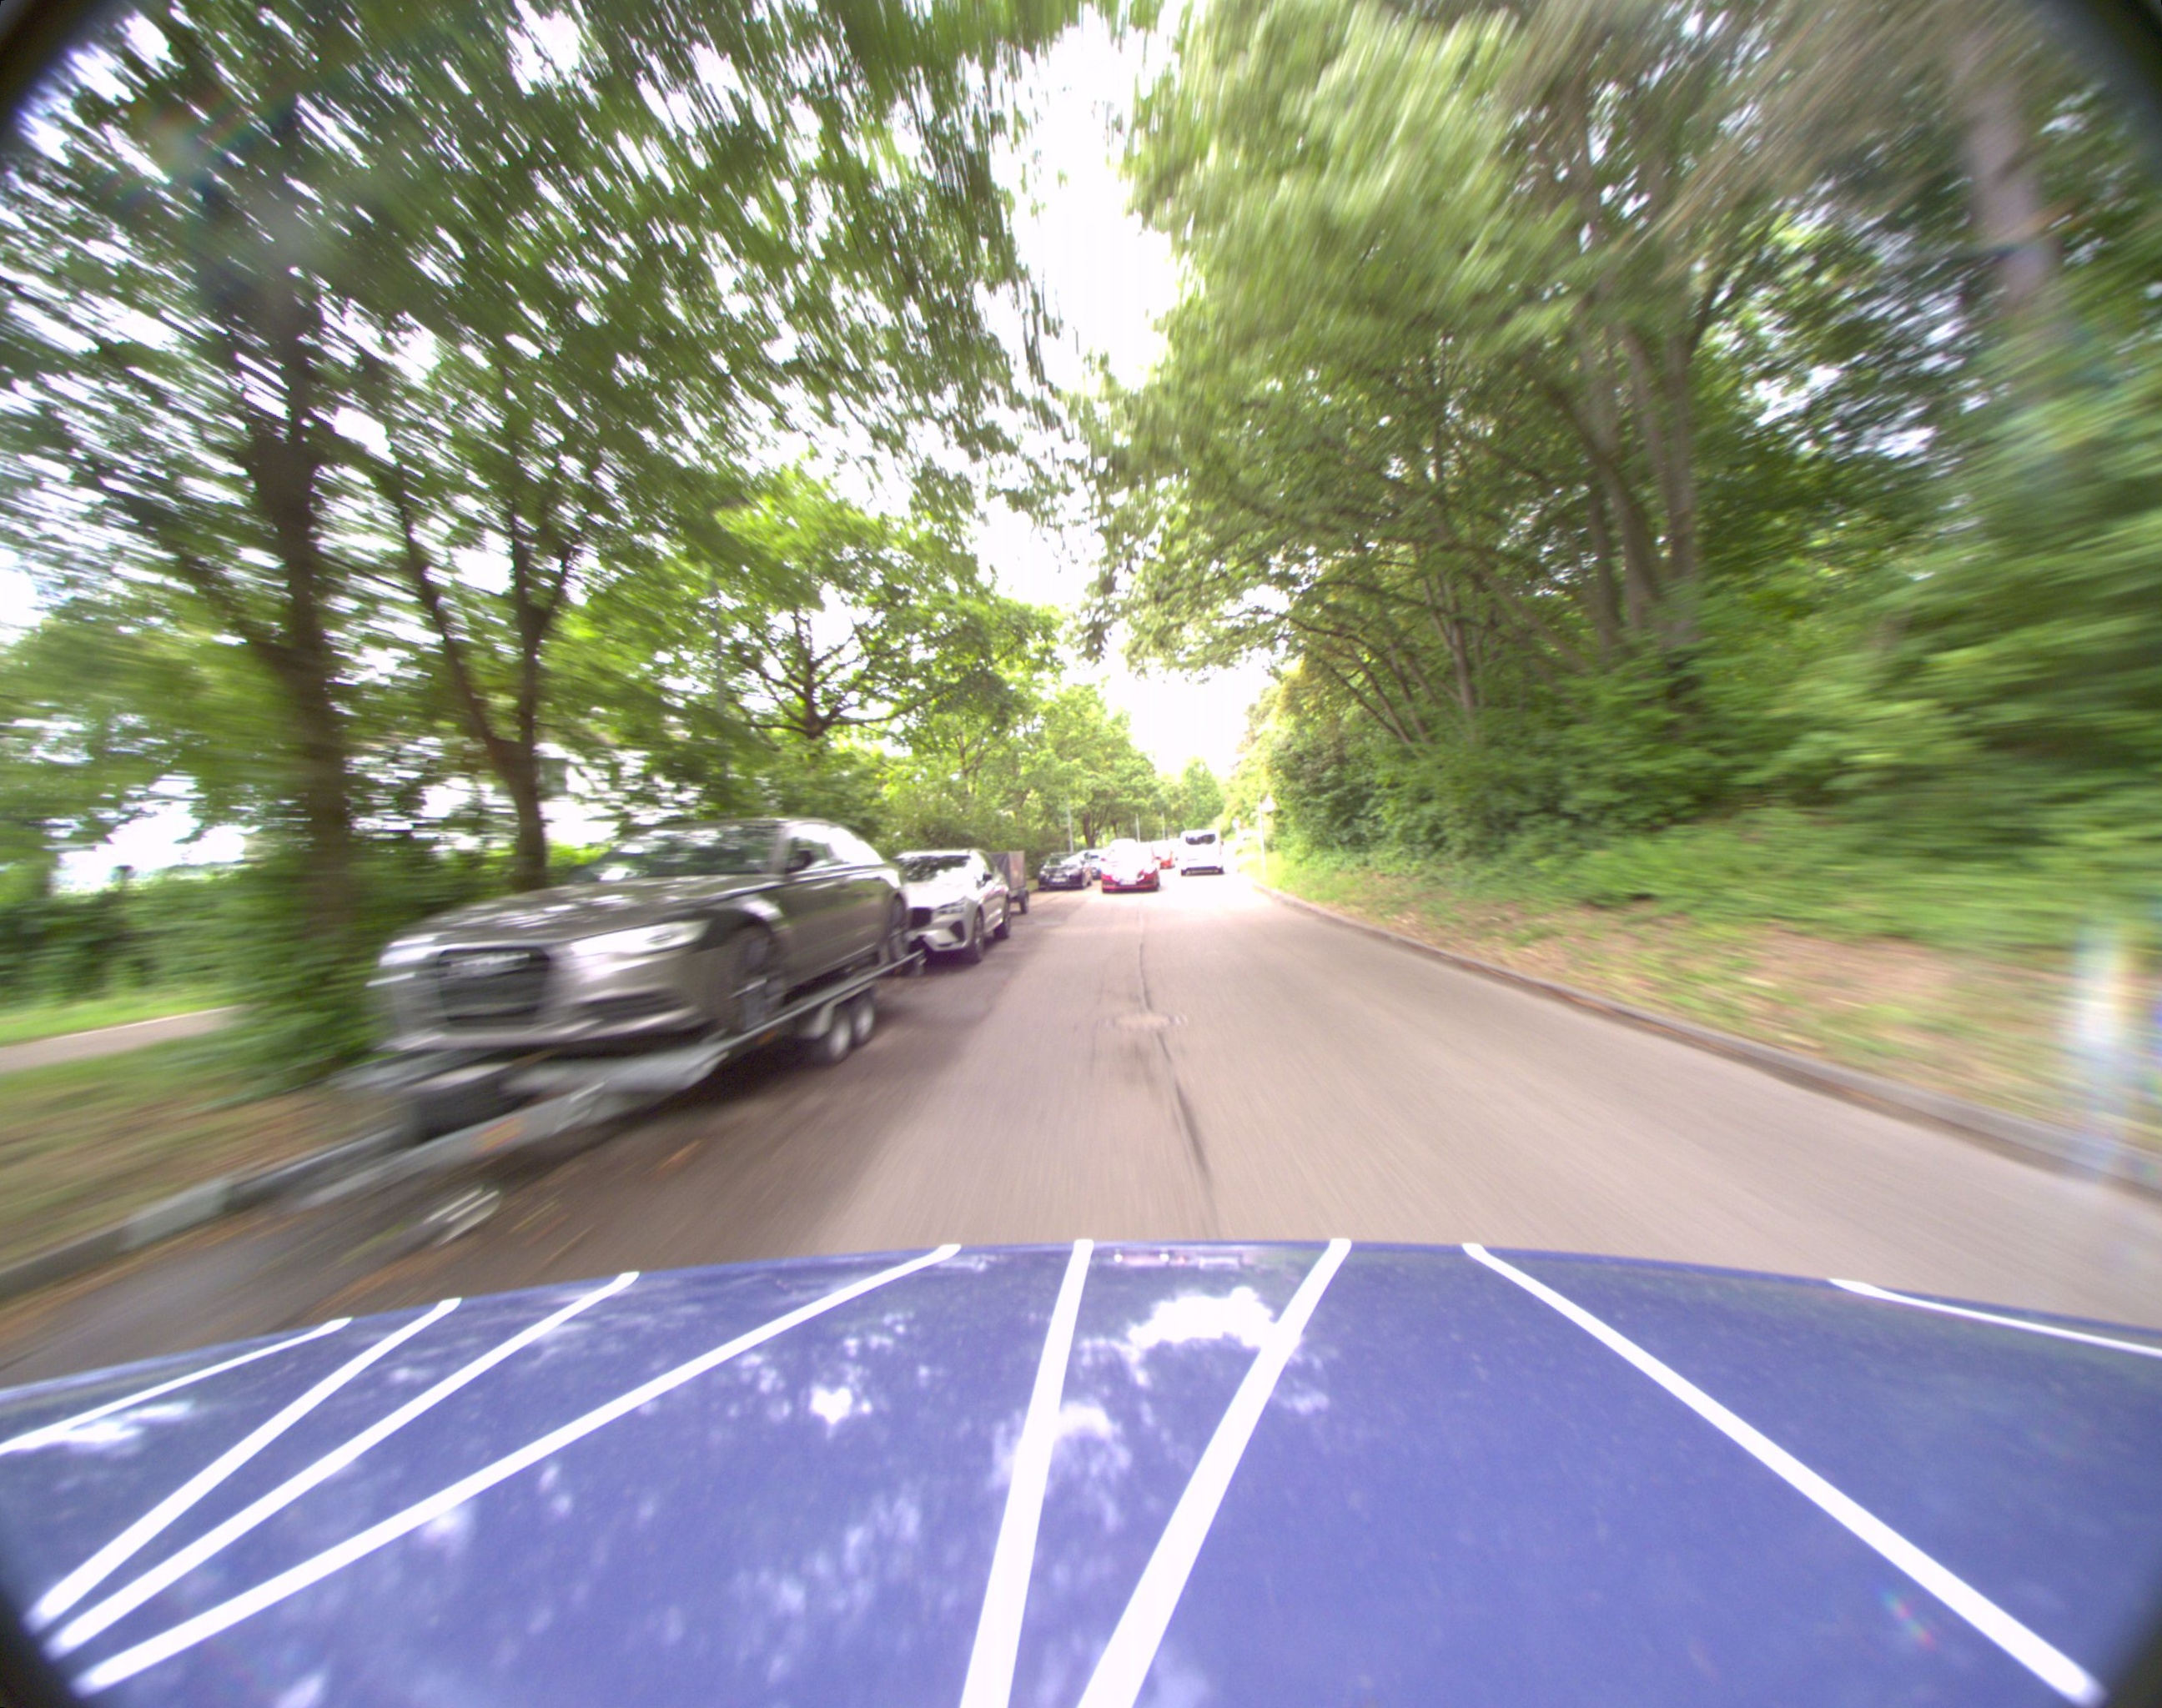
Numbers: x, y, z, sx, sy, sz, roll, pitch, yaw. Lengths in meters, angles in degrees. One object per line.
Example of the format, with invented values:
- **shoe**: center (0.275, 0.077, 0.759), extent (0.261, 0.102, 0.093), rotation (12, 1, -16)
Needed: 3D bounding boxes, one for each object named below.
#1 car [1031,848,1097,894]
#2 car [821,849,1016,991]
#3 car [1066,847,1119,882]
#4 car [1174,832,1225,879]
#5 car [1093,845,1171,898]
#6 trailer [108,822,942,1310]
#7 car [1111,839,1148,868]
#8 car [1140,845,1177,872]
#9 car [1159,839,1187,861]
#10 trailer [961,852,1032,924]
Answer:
- **car**: center (-0.566, 0.612, 29.360), extent (1.866, 1.558, 4.178), rotation (-3, 0, 7)
- **car**: center (-2.241, 0.816, 11.878), extent (1.845, 1.675, 4.600), rotation (-3, 1, 2)
- **car**: center (0.611, 0.459, 35.853), extent (1.865, 1.440, 4.178), rotation (-3, 0, 9)
- **car**: center (5.597, 0.014, 35.497), extent (2.148, 2.002, 4.002), rotation (-2, 2, 11)
- **car**: center (1.893, 0.537, 26.687), extent (1.997, 1.619, 4.630), rotation (-3, 0, 12)
- **trailer**: center (-2.773, 0.784, 6.005), extent (1.998, 1.922, 5.892), rotation (-2, 2, 2)
- **car**: center (3.184, -0.032, 49.238), extent (1.865, 1.716, 4.178), rotation (-3, 0, 9)
- **car**: center (4.589, 0.223, 44.533), extent (1.865, 1.440, 4.178), rotation (-3, 0, 9)
- **car**: center (7.177, -0.327, 58.945), extent (1.921, 1.671, 4.003), rotation (-1, 1, 10)
- **trailer**: center (-2.038, 0.792, 18.817), extent (1.377, 1.595, 2.267), rotation (-3, 0, 2)
